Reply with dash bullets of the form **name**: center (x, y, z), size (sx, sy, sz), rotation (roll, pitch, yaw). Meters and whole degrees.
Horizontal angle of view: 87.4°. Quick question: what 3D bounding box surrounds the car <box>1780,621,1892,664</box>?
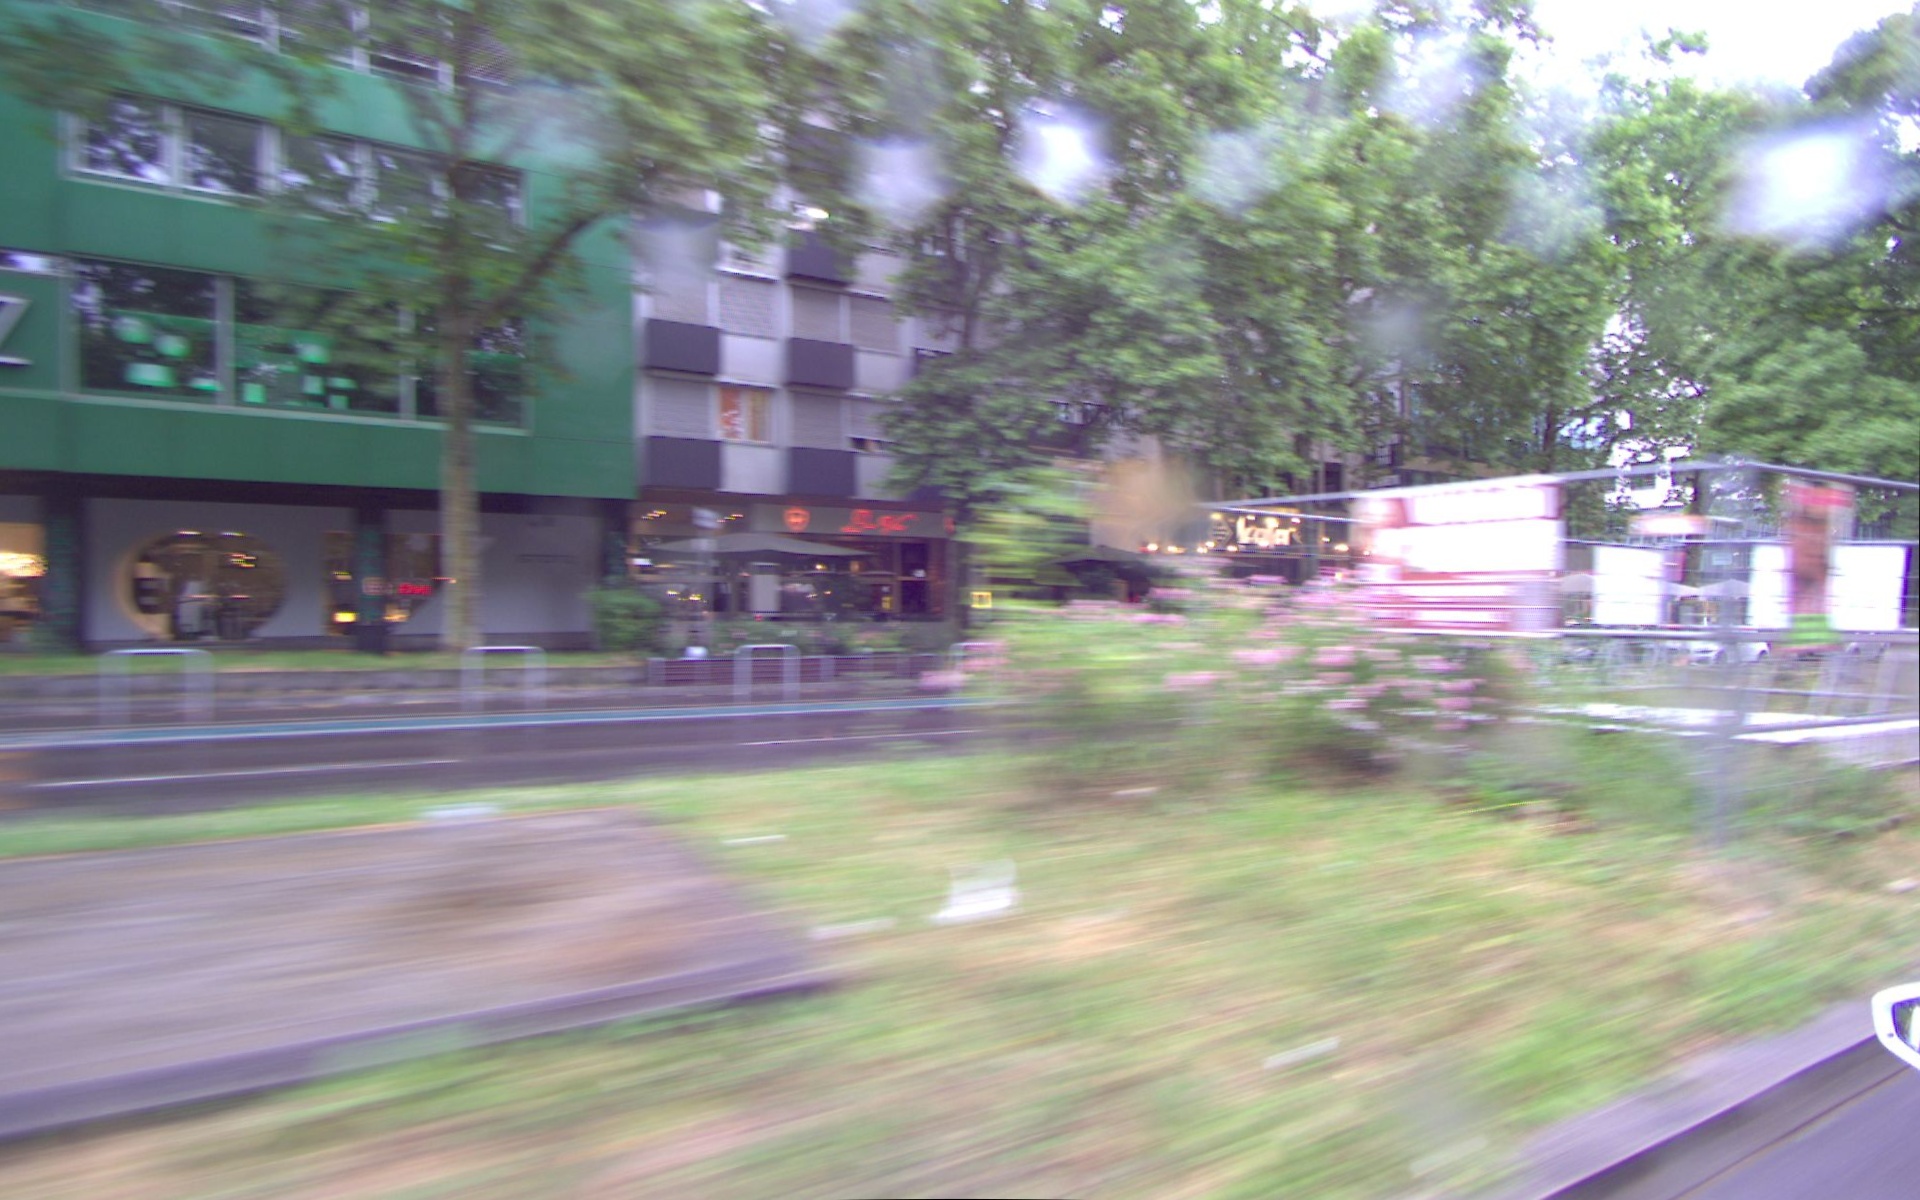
- **car**: center (32.782, 1.543, 37.562), size (4.468, 1.529, 1.983), rotation (1, -1, -32)

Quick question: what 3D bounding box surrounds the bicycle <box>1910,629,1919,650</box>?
- **bicycle**: center (46.714, 1.911, 47.981), size (0.560, 0.992, 1.834), rotation (1, -1, -32)

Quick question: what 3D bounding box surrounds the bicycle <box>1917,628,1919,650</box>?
- **bicycle**: center (47.480, 1.897, 48.444), size (0.609, 1.112, 1.831), rotation (1, -1, -37)

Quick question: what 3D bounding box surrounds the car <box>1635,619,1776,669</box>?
- **car**: center (23.890, 1.361, 32.153), size (4.485, 1.388, 1.984), rotation (1, 1, -30)

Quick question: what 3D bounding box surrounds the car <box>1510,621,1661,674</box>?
- **car**: center (17.908, 1.315, 28.734), size (4.430, 1.413, 1.817), rotation (1, -1, -30)
